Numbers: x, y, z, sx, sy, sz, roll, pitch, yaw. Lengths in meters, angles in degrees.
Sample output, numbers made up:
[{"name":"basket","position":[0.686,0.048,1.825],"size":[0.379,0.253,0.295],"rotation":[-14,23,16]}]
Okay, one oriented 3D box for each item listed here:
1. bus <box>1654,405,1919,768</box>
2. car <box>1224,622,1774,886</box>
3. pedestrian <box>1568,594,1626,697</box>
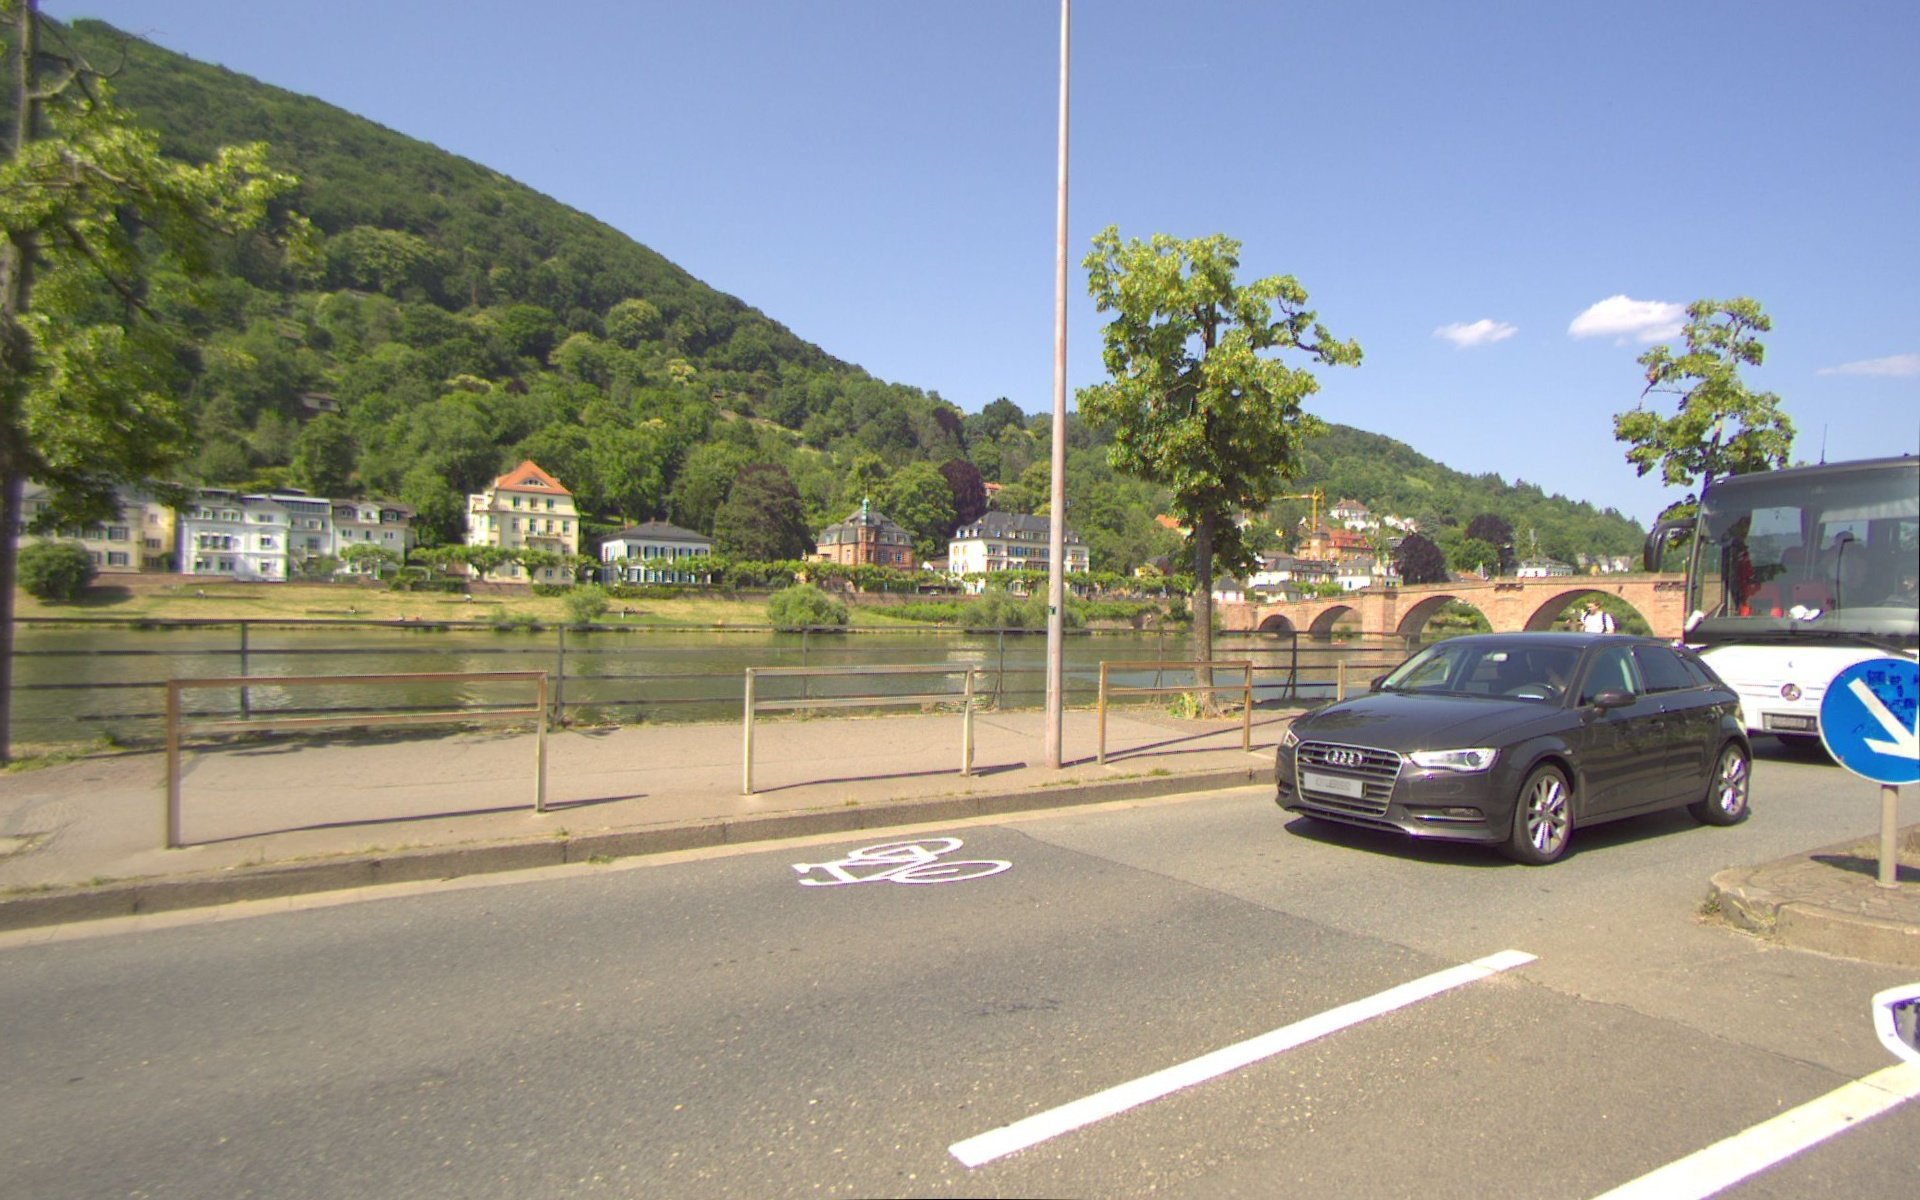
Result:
[{"name":"bus","position":[14.696,0.080,13.973],"size":[12.819,3.611,2.621],"rotation":[2,-1,-28]},{"name":"car","position":[4.079,0.898,7.431],"size":[4.146,1.448,1.807],"rotation":[1,-1,-32]},{"name":"pedestrian","position":[11.367,0.798,17.939],"size":[0.654,1.804,0.617],"rotation":[1,0,-31]}]
